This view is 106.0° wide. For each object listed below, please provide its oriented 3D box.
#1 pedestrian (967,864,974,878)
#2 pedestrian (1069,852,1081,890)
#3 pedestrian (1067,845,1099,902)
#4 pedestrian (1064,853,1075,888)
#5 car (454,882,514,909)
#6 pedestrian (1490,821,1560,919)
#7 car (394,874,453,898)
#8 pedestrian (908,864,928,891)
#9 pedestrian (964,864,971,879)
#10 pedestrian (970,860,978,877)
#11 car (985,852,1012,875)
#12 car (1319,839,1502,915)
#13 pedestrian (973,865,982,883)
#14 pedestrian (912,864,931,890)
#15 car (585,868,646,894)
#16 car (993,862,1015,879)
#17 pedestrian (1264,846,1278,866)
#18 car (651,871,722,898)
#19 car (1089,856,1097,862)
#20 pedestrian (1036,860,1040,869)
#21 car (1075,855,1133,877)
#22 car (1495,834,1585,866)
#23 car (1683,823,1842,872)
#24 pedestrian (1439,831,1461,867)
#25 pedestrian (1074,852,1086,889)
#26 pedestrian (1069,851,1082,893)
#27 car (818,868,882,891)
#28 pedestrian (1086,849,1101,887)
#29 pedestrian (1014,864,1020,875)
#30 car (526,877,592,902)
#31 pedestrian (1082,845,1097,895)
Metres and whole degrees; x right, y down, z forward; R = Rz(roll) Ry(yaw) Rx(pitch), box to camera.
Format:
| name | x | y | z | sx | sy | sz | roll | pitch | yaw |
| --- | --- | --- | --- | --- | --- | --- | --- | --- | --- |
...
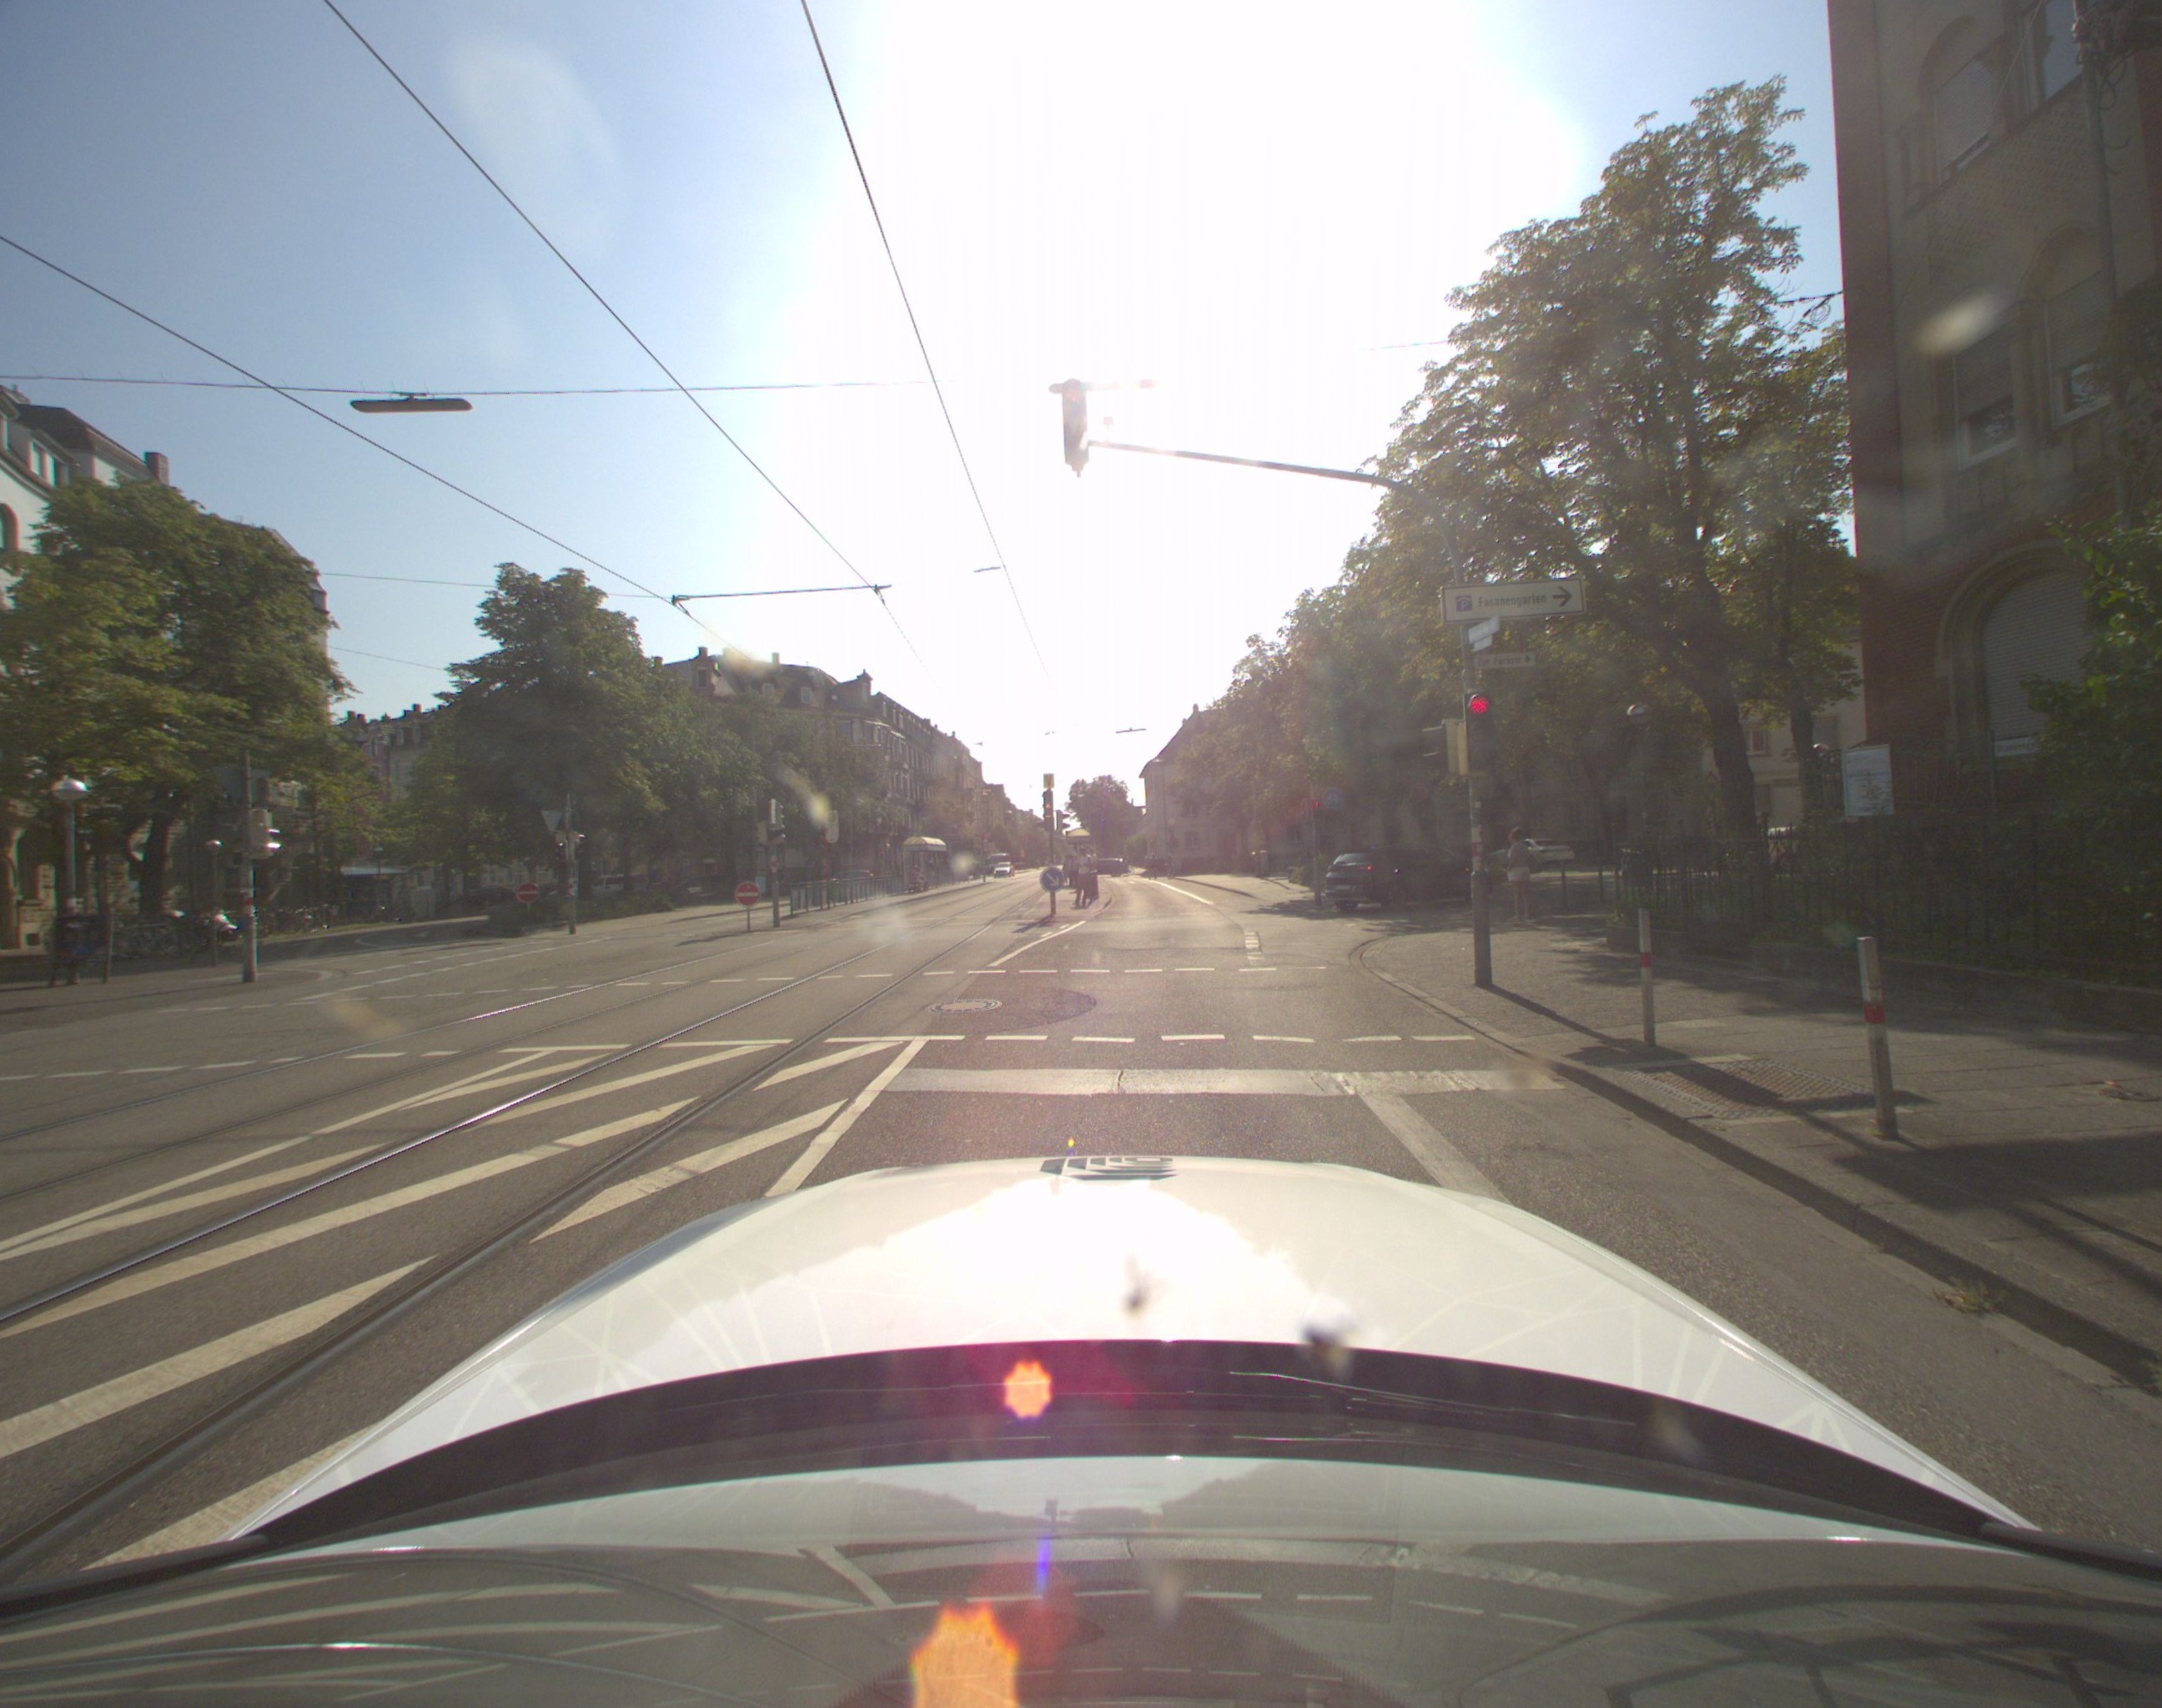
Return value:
| name | x | y | z | sx | sy | sz | roll | pitch | yaw |
| --- | --- | --- | --- | --- | --- | --- | --- | --- | --- |
| pedestrian | -13.290 | 2.034 | 97.596 | 0.749 | 1.731 | 0.769 | -3 | -1 | -8 |
| pedestrian | -0.275 | 0.802 | 38.641 | 0.541 | 1.759 | 0.534 | 0 | 2 | 1 |
| pedestrian | 0.057 | 0.607 | 25.656 | 0.693 | 1.725 | 0.753 | 1 | 2 | 34 |
| pedestrian | -0.574 | 0.823 | 40.874 | 0.530 | 1.759 | 0.545 | 0 | 2 | 2 |
| car | -46.920 | 3.259 | 64.002 | 3.951 | 1.828 | 2.011 | -3 | 0 | 23 |
| pedestrian | 8.145 | 0.284 | 14.970 | 0.749 | 1.731 | 0.769 | -3 | -1 | -8 |
| car | -57.946 | 2.823 | 71.820 | 3.959 | 1.828 | 2.007 | -3 | 0 | 13 |
| pedestrian | -8.484 | 1.207 | 42.408 | 0.826 | 1.359 | 0.775 | -3 | -1 | -4 |
| pedestrian | -13.190 | 2.002 | 94.577 | 0.749 | 1.731 | 0.769 | -3 | -1 | -8 |
| pedestrian | -11.239 | 1.501 | 85.548 | 0.749 | 1.731 | 0.769 | -3 | -1 | -8 |
| car | -10.232 | 1.139 | 101.871 | 2.336 | 2.662 | 5.112 | -3 | 0 | 5 |
| car | 8.018 | 0.507 | 19.770 | 4.234 | 1.515 | 1.599 | -3 | 0 | -25 |
| pedestrian | -10.587 | 2.061 | 83.268 | 0.747 | 1.731 | 0.772 | -3 | -1 | 3 |
| pedestrian | -8.487 | 1.215 | 43.385 | 0.826 | 1.359 | 0.775 | -3 | -1 | -4 |
| car | -36.005 | 2.095 | 63.042 | 3.952 | 1.828 | 2.011 | -3 | 0 | 22 |
| car | -8.202 | 1.771 | 86.740 | 1.794 | 1.653 | 3.644 | -3 | 0 | 2 |
| pedestrian | 16.577 | 0.189 | 70.921 | 0.882 | 1.740 | 0.781 | -3 | -1 | 34 |
| car | -27.507 | 2.112 | 56.986 | 4.342 | 1.569 | 1.984 | -3 | -1 | -24 |
| car | 3.921 | 1.447 | 257.577 | 1.982 | 1.783 | 4.009 | -2 | -1 | 8 |
| pedestrian | -8.114 | 2.021 | 153.344 | 0.749 | 1.731 | 0.769 | -3 | -1 | -8 |
| car | 1.938 | 0.999 | 68.280 | 4.286 | 1.569 | 2.010 | -3 | -1 | 20 |
| car | 22.979 | -0.159 | 40.924 | 1.752 | 1.428 | 4.134 | -3 | 0 | -8 |
| car | 23.625 | -0.272 | 28.274 | 4.783 | 1.465 | 1.861 | -1 | 7 | -17 |
| pedestrian | 18.525 | -0.233 | 40.917 | 0.883 | 1.740 | 0.780 | -3 | -1 | 20 |
| pedestrian | -0.047 | 0.796 | 39.447 | 0.541 | 1.759 | 0.534 | 0 | 2 | 1 |
| pedestrian | -0.226 | 0.761 | 34.631 | 0.502 | 1.759 | 0.534 | 0 | 2 | 1 |
| car | -18.101 | 1.991 | 63.892 | 4.353 | 1.569 | 1.979 | -3 | -1 | -33 |
| pedestrian | 0.586 | 0.650 | 38.818 | 0.706 | 1.759 | 0.534 | 0 | 2 | 1 |
| pedestrian | -10.337 | 2.546 | 131.404 | 0.749 | 1.731 | 0.769 | -3 | -1 | -8 |
| car | -38.706 | 2.622 | 60.421 | 4.283 | 1.569 | 2.011 | -3 | -1 | 24 |
| pedestrian | 0.316 | 0.581 | 29.920 | 0.502 | 1.834 | 0.534 | 0 | 2 | 1 |
